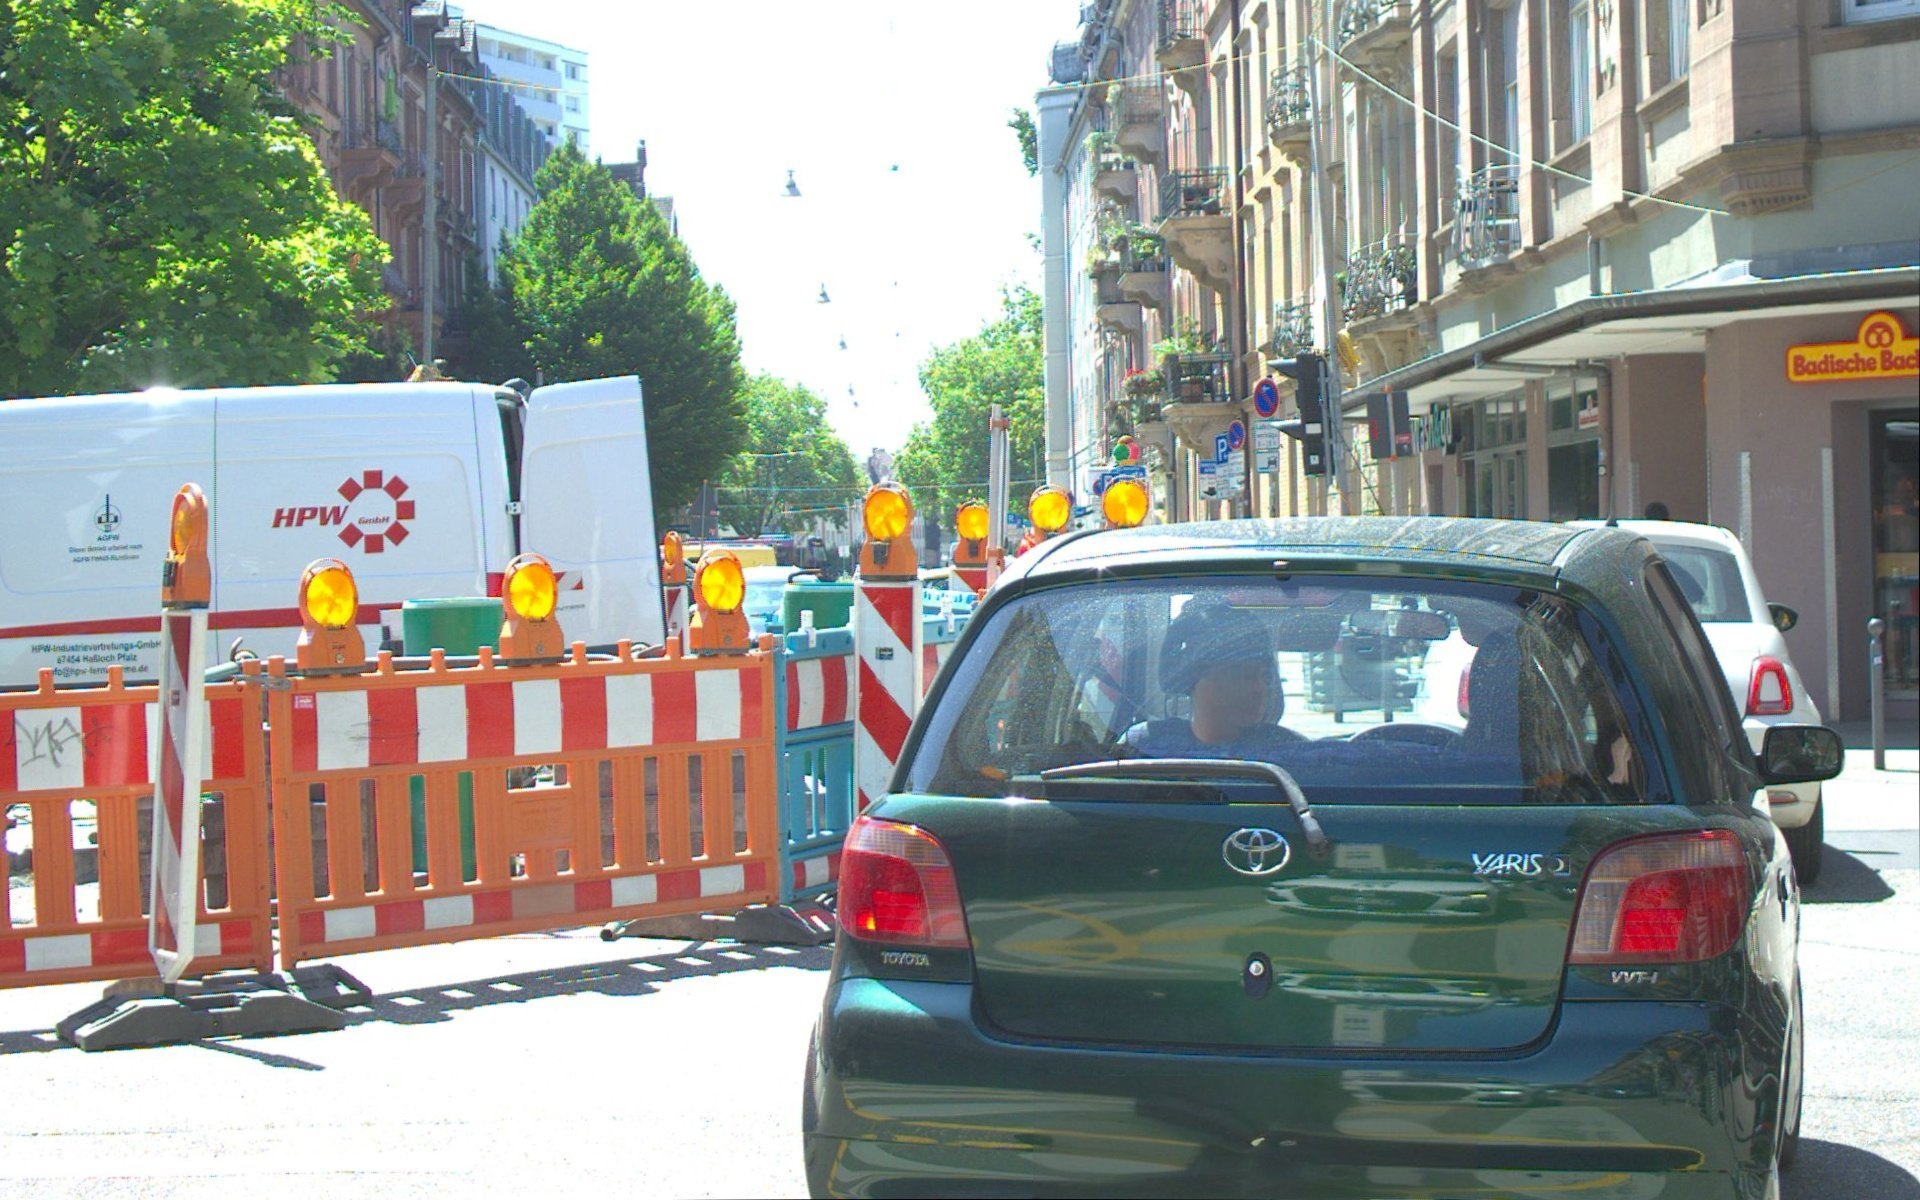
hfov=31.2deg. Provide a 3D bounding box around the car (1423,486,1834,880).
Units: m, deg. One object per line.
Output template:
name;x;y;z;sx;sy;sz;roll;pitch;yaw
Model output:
car;2.996;0.288;14.976;1.523;1.516;3.262;-1;1;15

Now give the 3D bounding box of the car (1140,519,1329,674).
car;3.304;-0.072;42.149;1.871;1.707;4.504;-3;1;0

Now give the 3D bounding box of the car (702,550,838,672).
car;-2.815;0.125;51.761;1.754;1.639;4.378;-4;1;-1

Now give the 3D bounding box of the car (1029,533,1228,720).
car;1.489;0.197;31.329;1.522;1.587;3.264;-1;1;-2

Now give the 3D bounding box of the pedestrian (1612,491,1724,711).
pedestrian;5.342;0.002;25.960;0.641;1.618;0.804;-1;1;-1

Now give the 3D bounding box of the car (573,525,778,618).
car;-6.978;-0.713;84.339;4.557;2.180;2.000;-1;1;-28

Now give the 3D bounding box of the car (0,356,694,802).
car;-5.168;-0.156;22.581;6.621;2.742;2.380;0;1;1

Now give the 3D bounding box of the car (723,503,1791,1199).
car;0.809;0.574;6.896;1.615;1.480;3.239;0;1;14

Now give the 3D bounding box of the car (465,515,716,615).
car;-7.717;-0.738;71.880;4.773;1.987;2.054;-1;1;-29

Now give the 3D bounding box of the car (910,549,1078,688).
car;0.402;0.205;45.307;1.993;1.612;4.000;-4;1;-1

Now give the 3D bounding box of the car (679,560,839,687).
car;-2.446;0.258;42.608;1.754;1.439;4.000;-2;1;-1
